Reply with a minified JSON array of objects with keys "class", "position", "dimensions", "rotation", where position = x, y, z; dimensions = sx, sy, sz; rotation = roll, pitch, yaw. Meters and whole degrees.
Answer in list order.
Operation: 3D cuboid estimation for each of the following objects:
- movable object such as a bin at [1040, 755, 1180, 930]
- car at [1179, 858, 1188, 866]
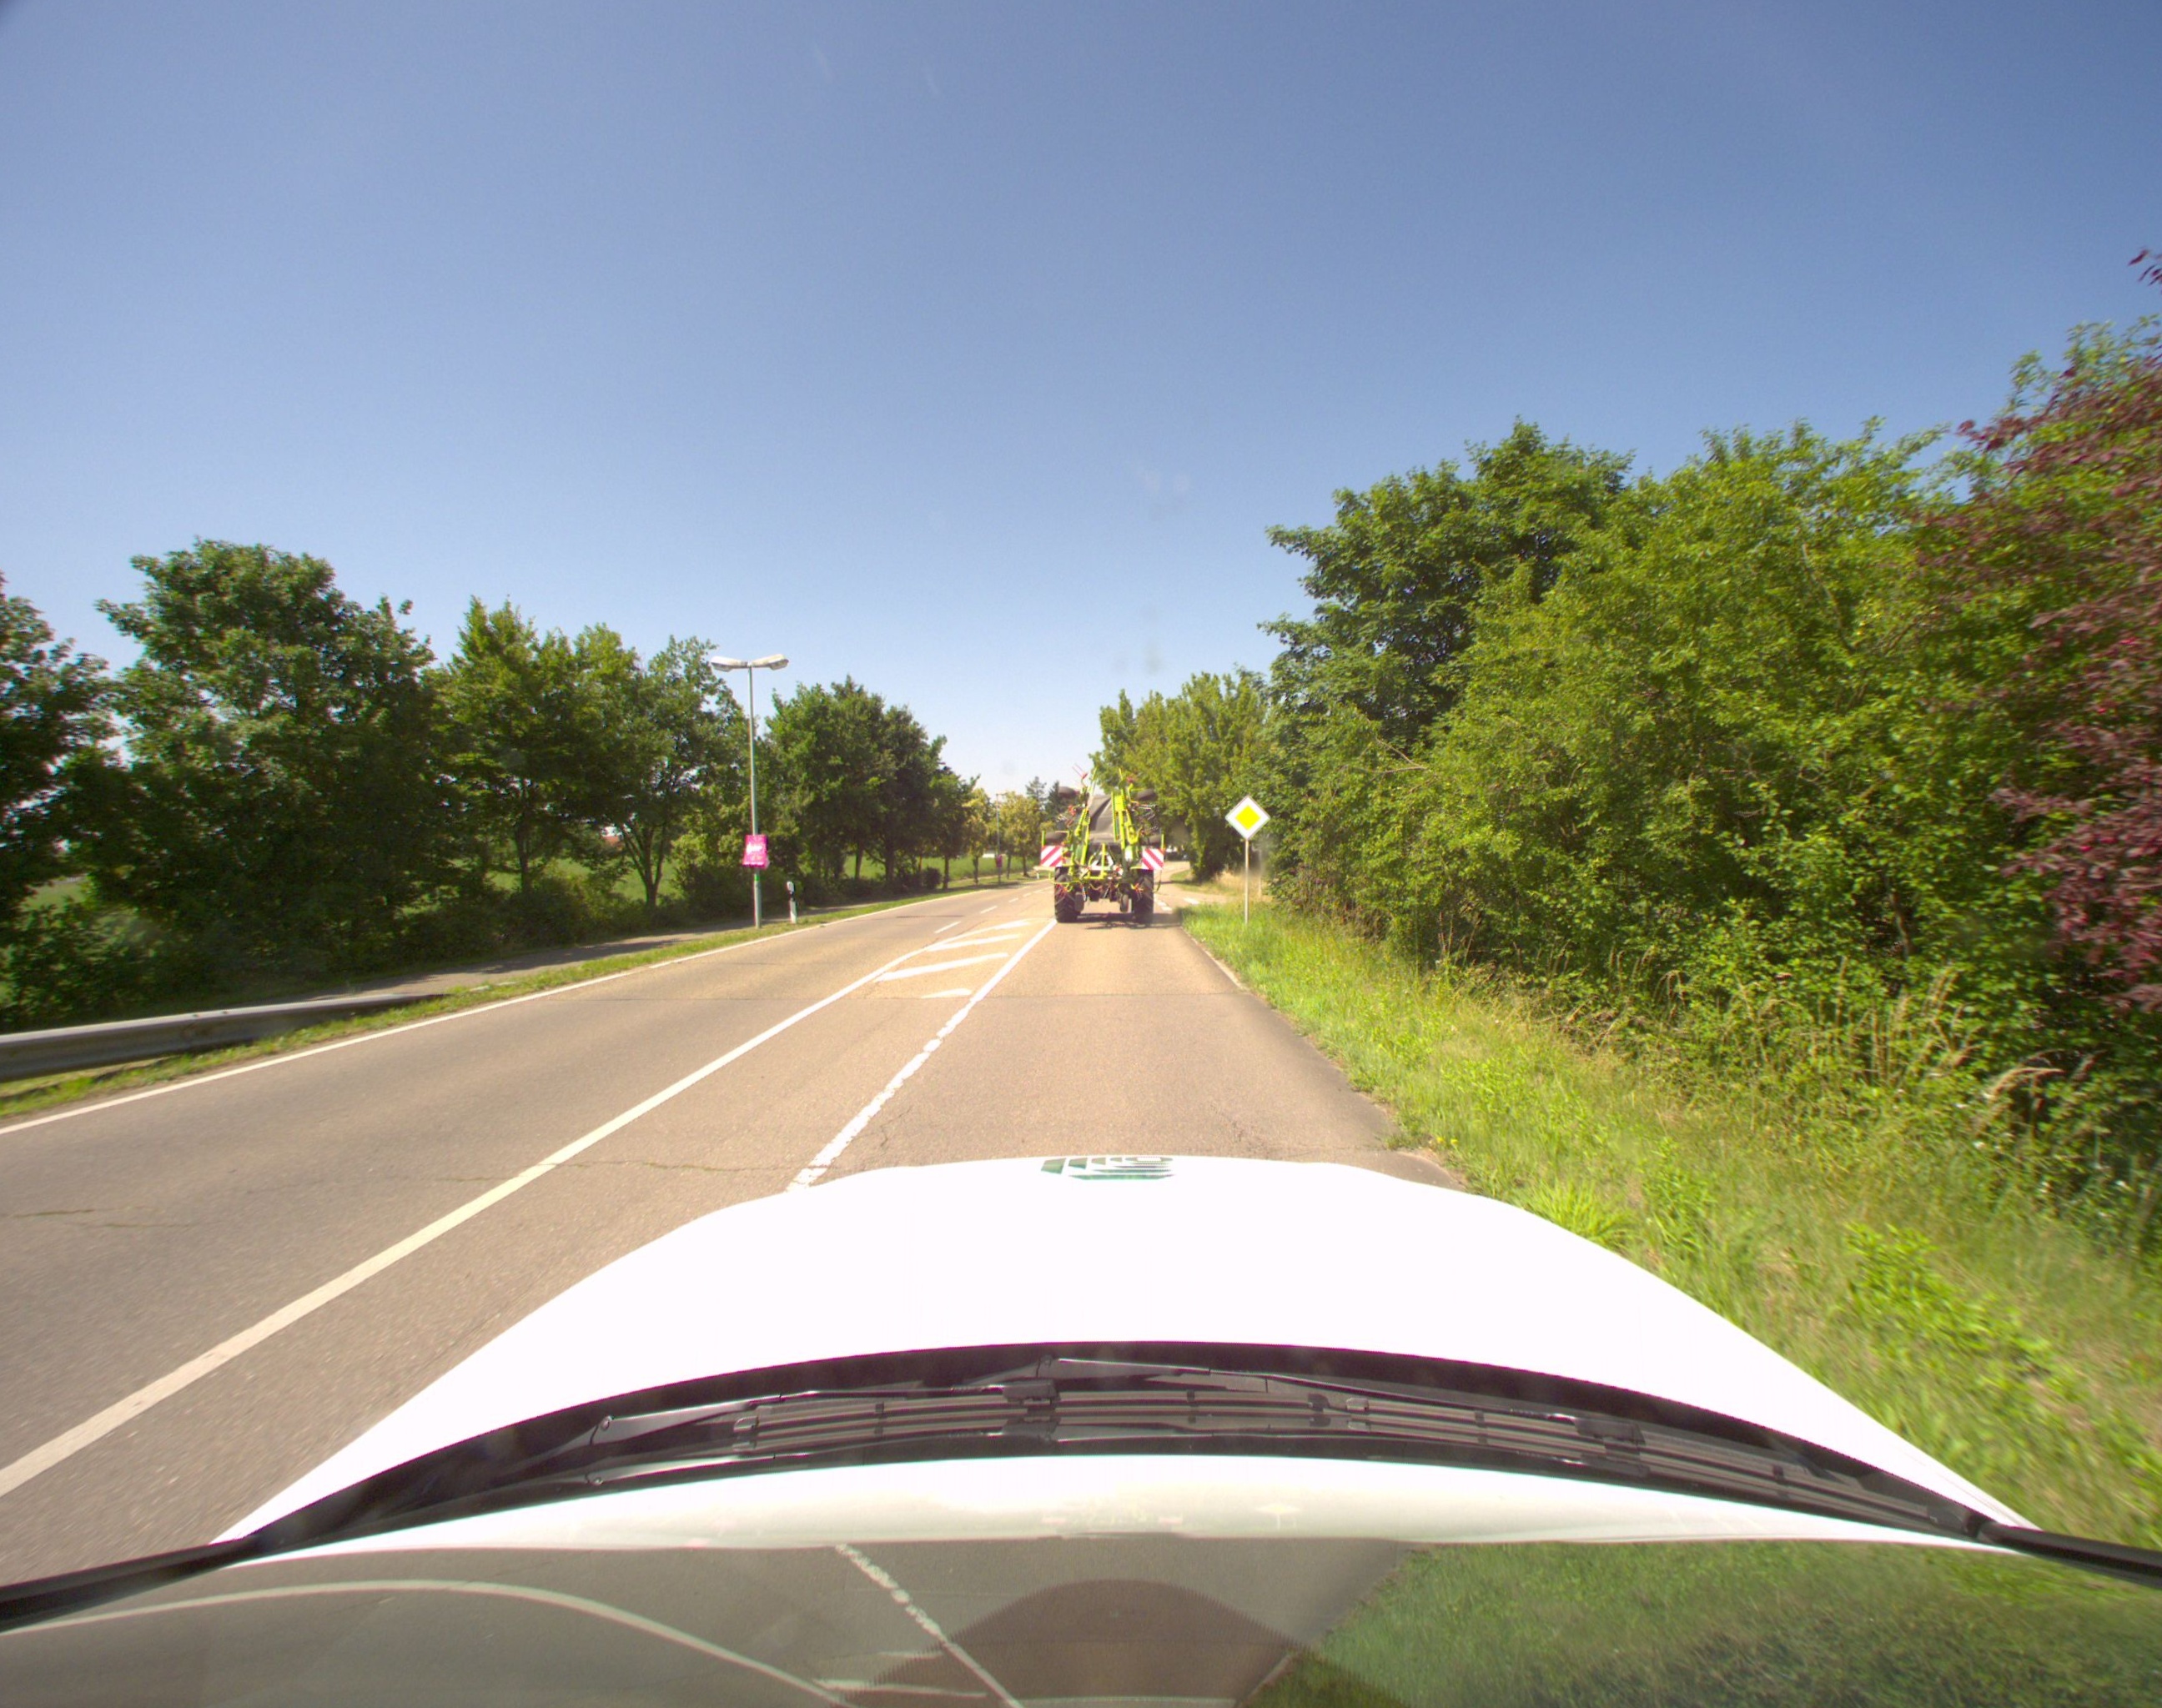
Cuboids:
[{"class":"movable object such as a bin","position":[0.631,-0.262,21.405],"dimensions":[2.843,3.541,9.701],"rotation":[0,0,0]},{"class":"car","position":[21.250,1.618,168.052],"dimensions":[1.639,1.433,3.907],"rotation":[1,1,10]}]
